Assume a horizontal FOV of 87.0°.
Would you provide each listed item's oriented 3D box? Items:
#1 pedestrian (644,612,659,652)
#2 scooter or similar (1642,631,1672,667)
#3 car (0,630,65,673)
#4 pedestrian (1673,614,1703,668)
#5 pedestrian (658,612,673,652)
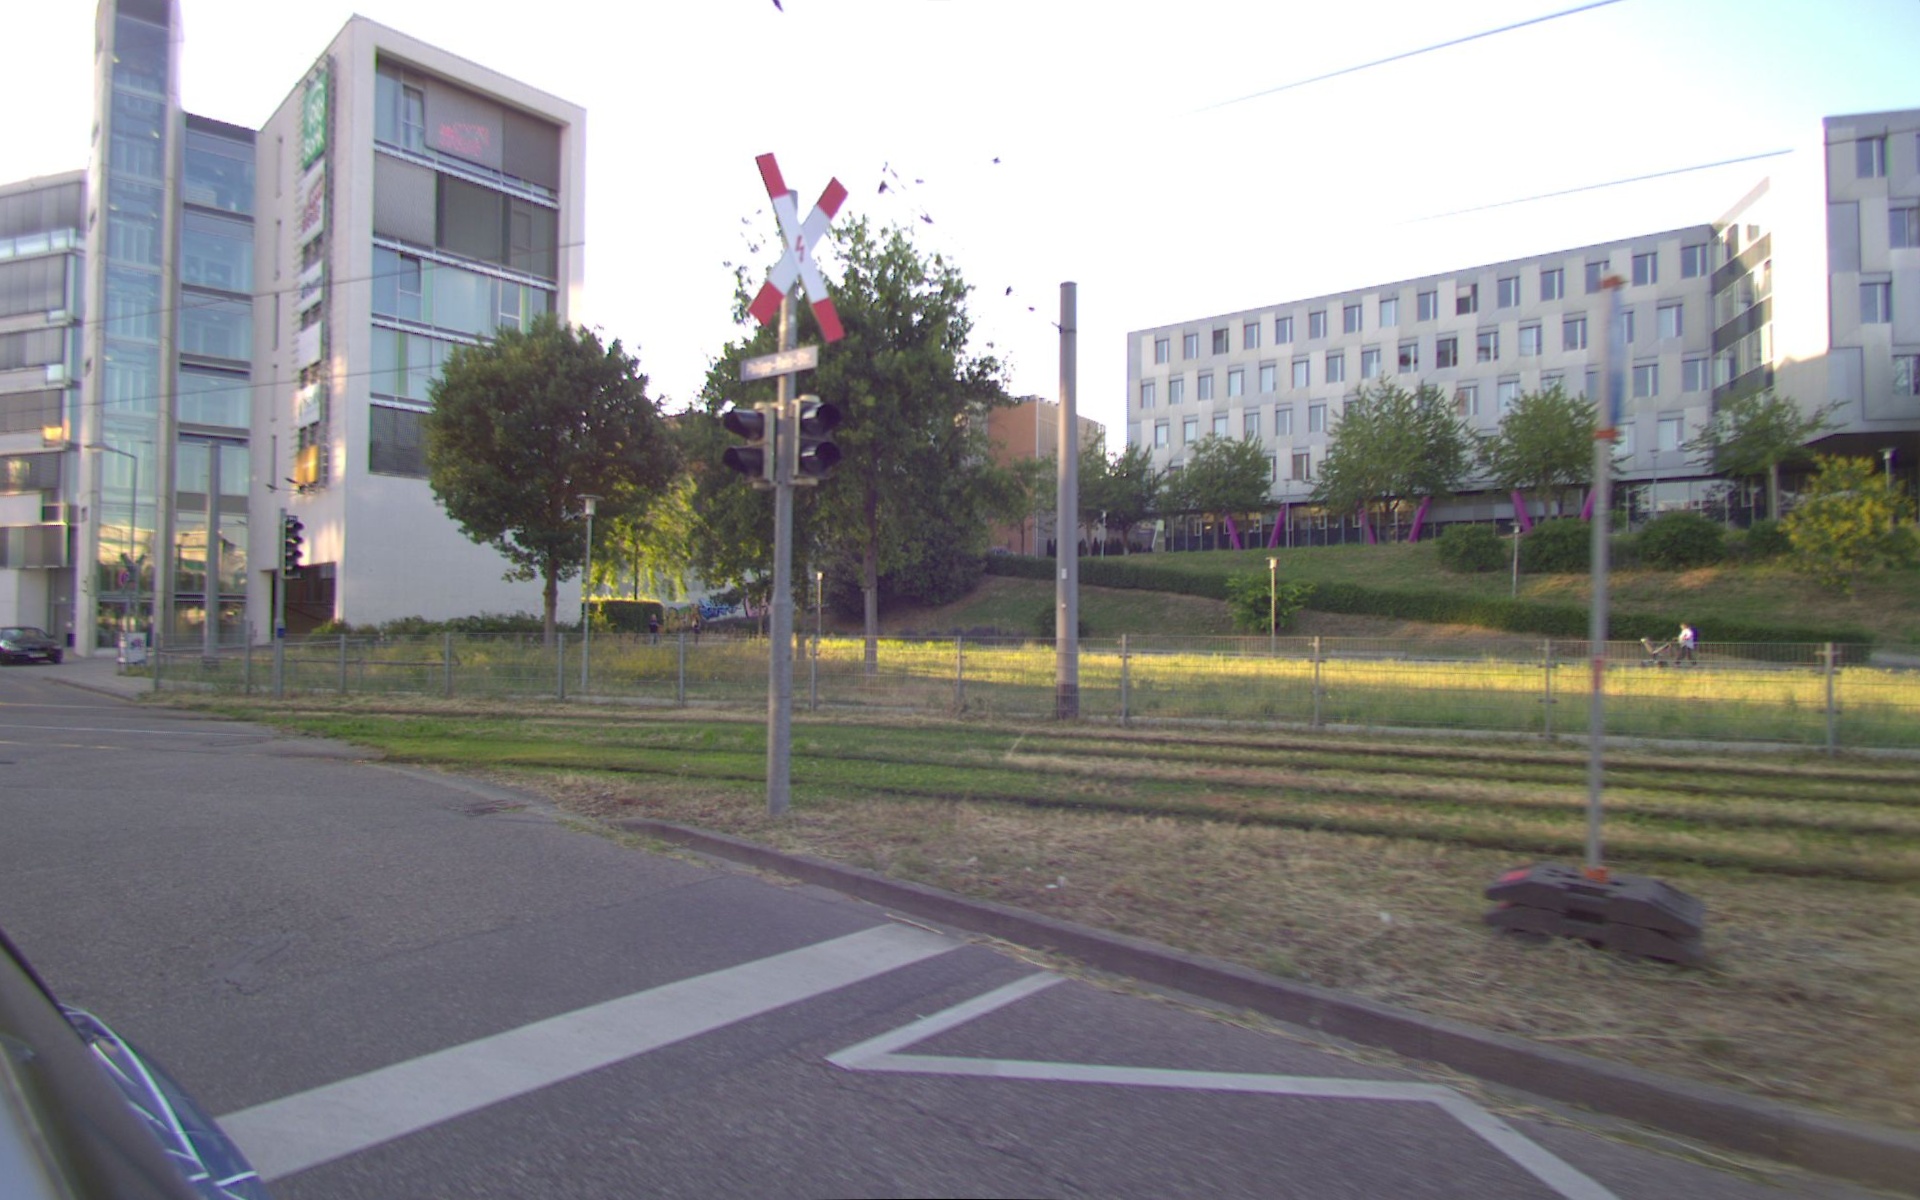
[{"bbox_3d":[-14.110,1.463,46.276,0.480,1.850,0.446,-1,-1,22],"label":"pedestrian"},{"bbox_3d":[24.515,1.717,35.591,0.790,1.253,0.610,-1,-1,41],"label":"scooter or similar"},{"bbox_3d":[-35.554,1.891,38.020,4.215,1.453,1.838,-1,0,33],"label":"car"},{"bbox_3d":[25.228,1.405,35.069,0.790,1.850,0.610,-1,-1,41],"label":"pedestrian"},{"bbox_3d":[-13.526,1.465,46.412,0.480,1.850,0.434,-1,-1,22],"label":"pedestrian"}]
